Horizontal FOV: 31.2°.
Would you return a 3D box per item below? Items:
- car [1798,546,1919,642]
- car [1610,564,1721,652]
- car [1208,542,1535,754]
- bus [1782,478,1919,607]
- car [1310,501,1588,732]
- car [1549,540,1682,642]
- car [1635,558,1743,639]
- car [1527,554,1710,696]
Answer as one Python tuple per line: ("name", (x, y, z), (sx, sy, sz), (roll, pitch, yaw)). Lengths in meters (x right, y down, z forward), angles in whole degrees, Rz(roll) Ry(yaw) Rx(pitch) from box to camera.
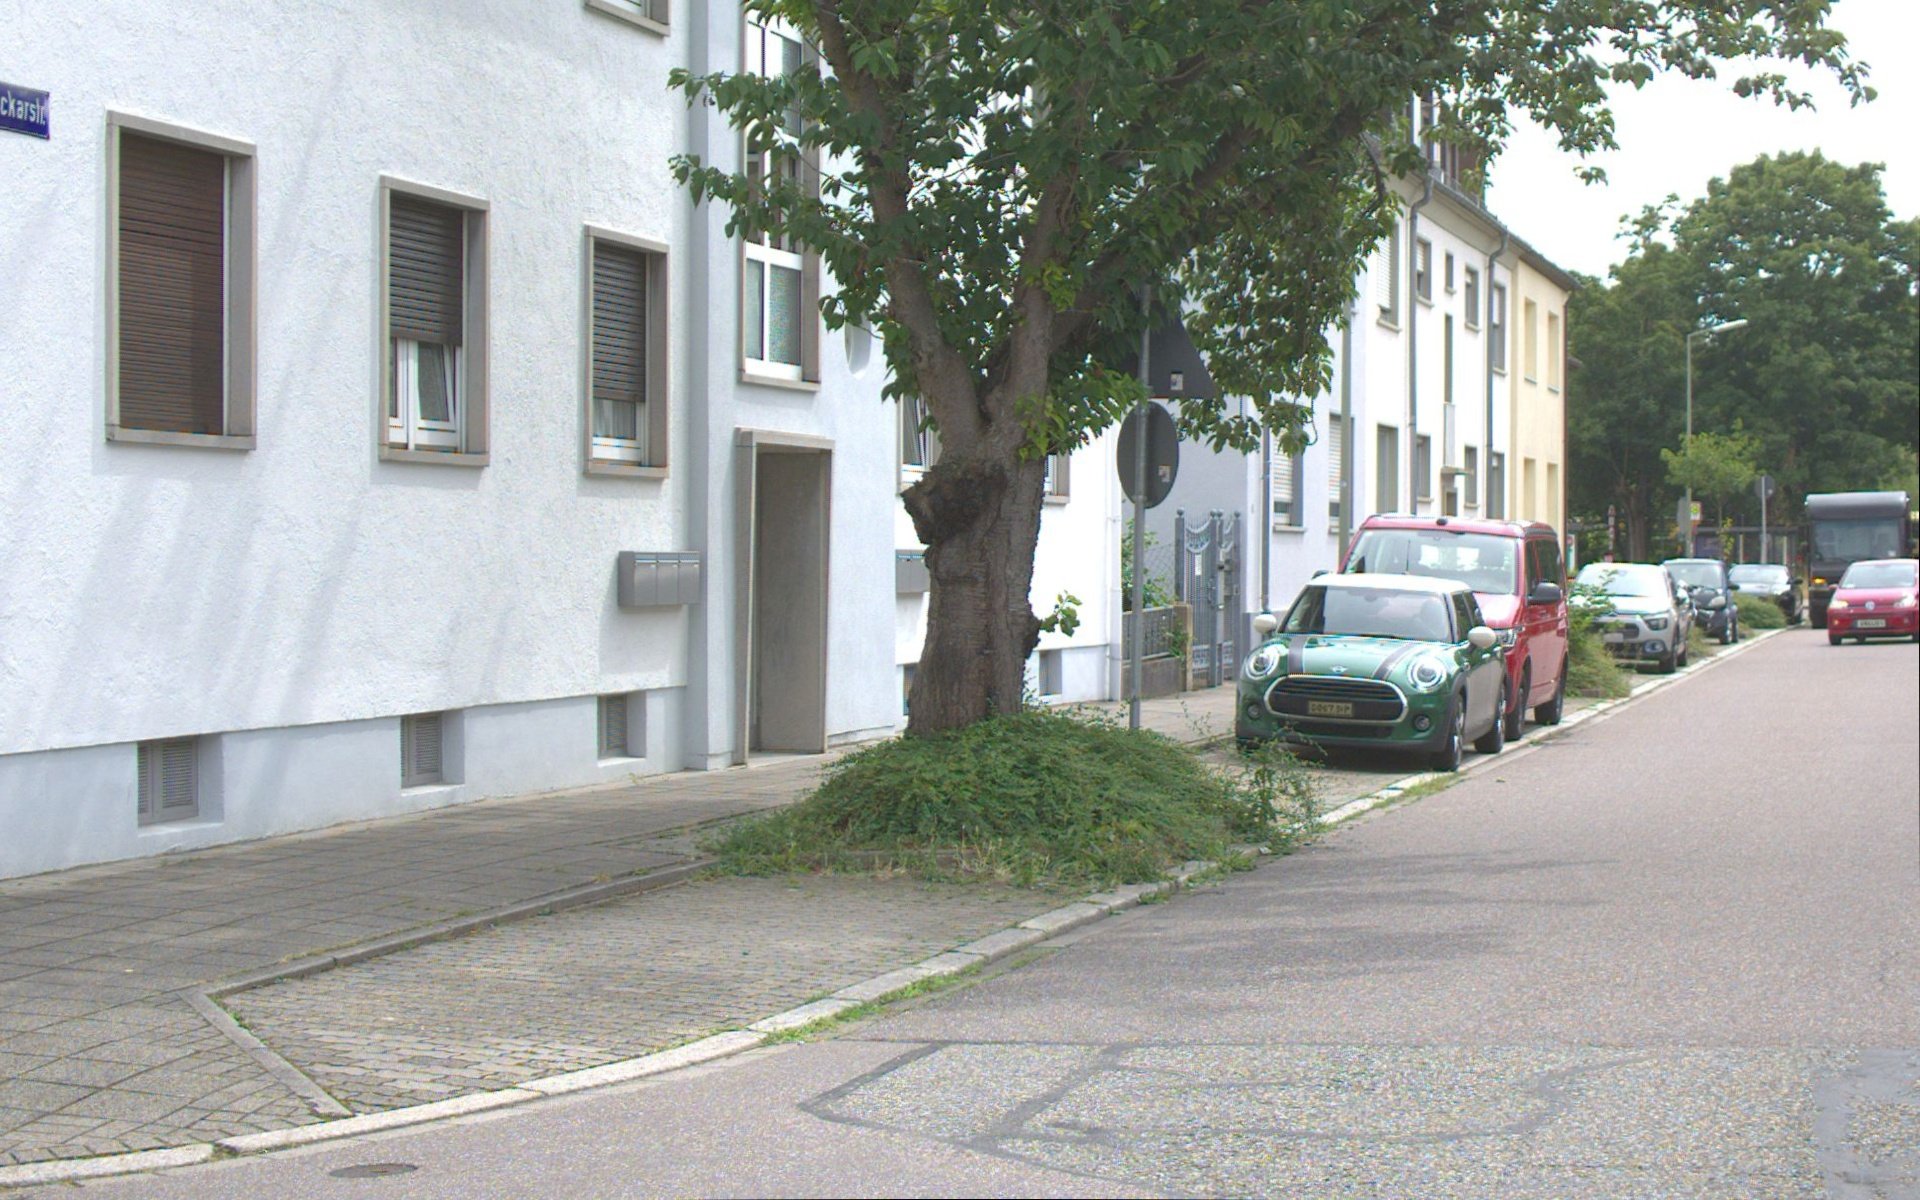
("car", (16.324, -0.139, 61.052), (1.996, 1.612, 3.995), (-1, 0, 25))
("car", (11.149, 0.109, 54.226), (1.539, 1.297, 3.719), (-1, 0, 14))
("car", (3.342, 0.335, 27.325), (1.765, 1.549, 3.727), (-1, 0, 20))
("bus", (20.982, -1.321, 79.626), (3.006, 2.752, 8.916), (-1, 0, 18))
("car", (4.680, 0.099, 32.348), (1.995, 2.007, 4.517), (0, 1, 16))
("car", (9.464, -0.152, 49.447), (1.652, 1.372, 3.719), (-1, 0, 14))
("car", (13.292, -0.049, 62.549), (1.652, 1.372, 3.719), (-1, 0, 16))
("car", (7.298, 0.247, 37.889), (1.652, 1.456, 3.550), (-1, 0, 16))
